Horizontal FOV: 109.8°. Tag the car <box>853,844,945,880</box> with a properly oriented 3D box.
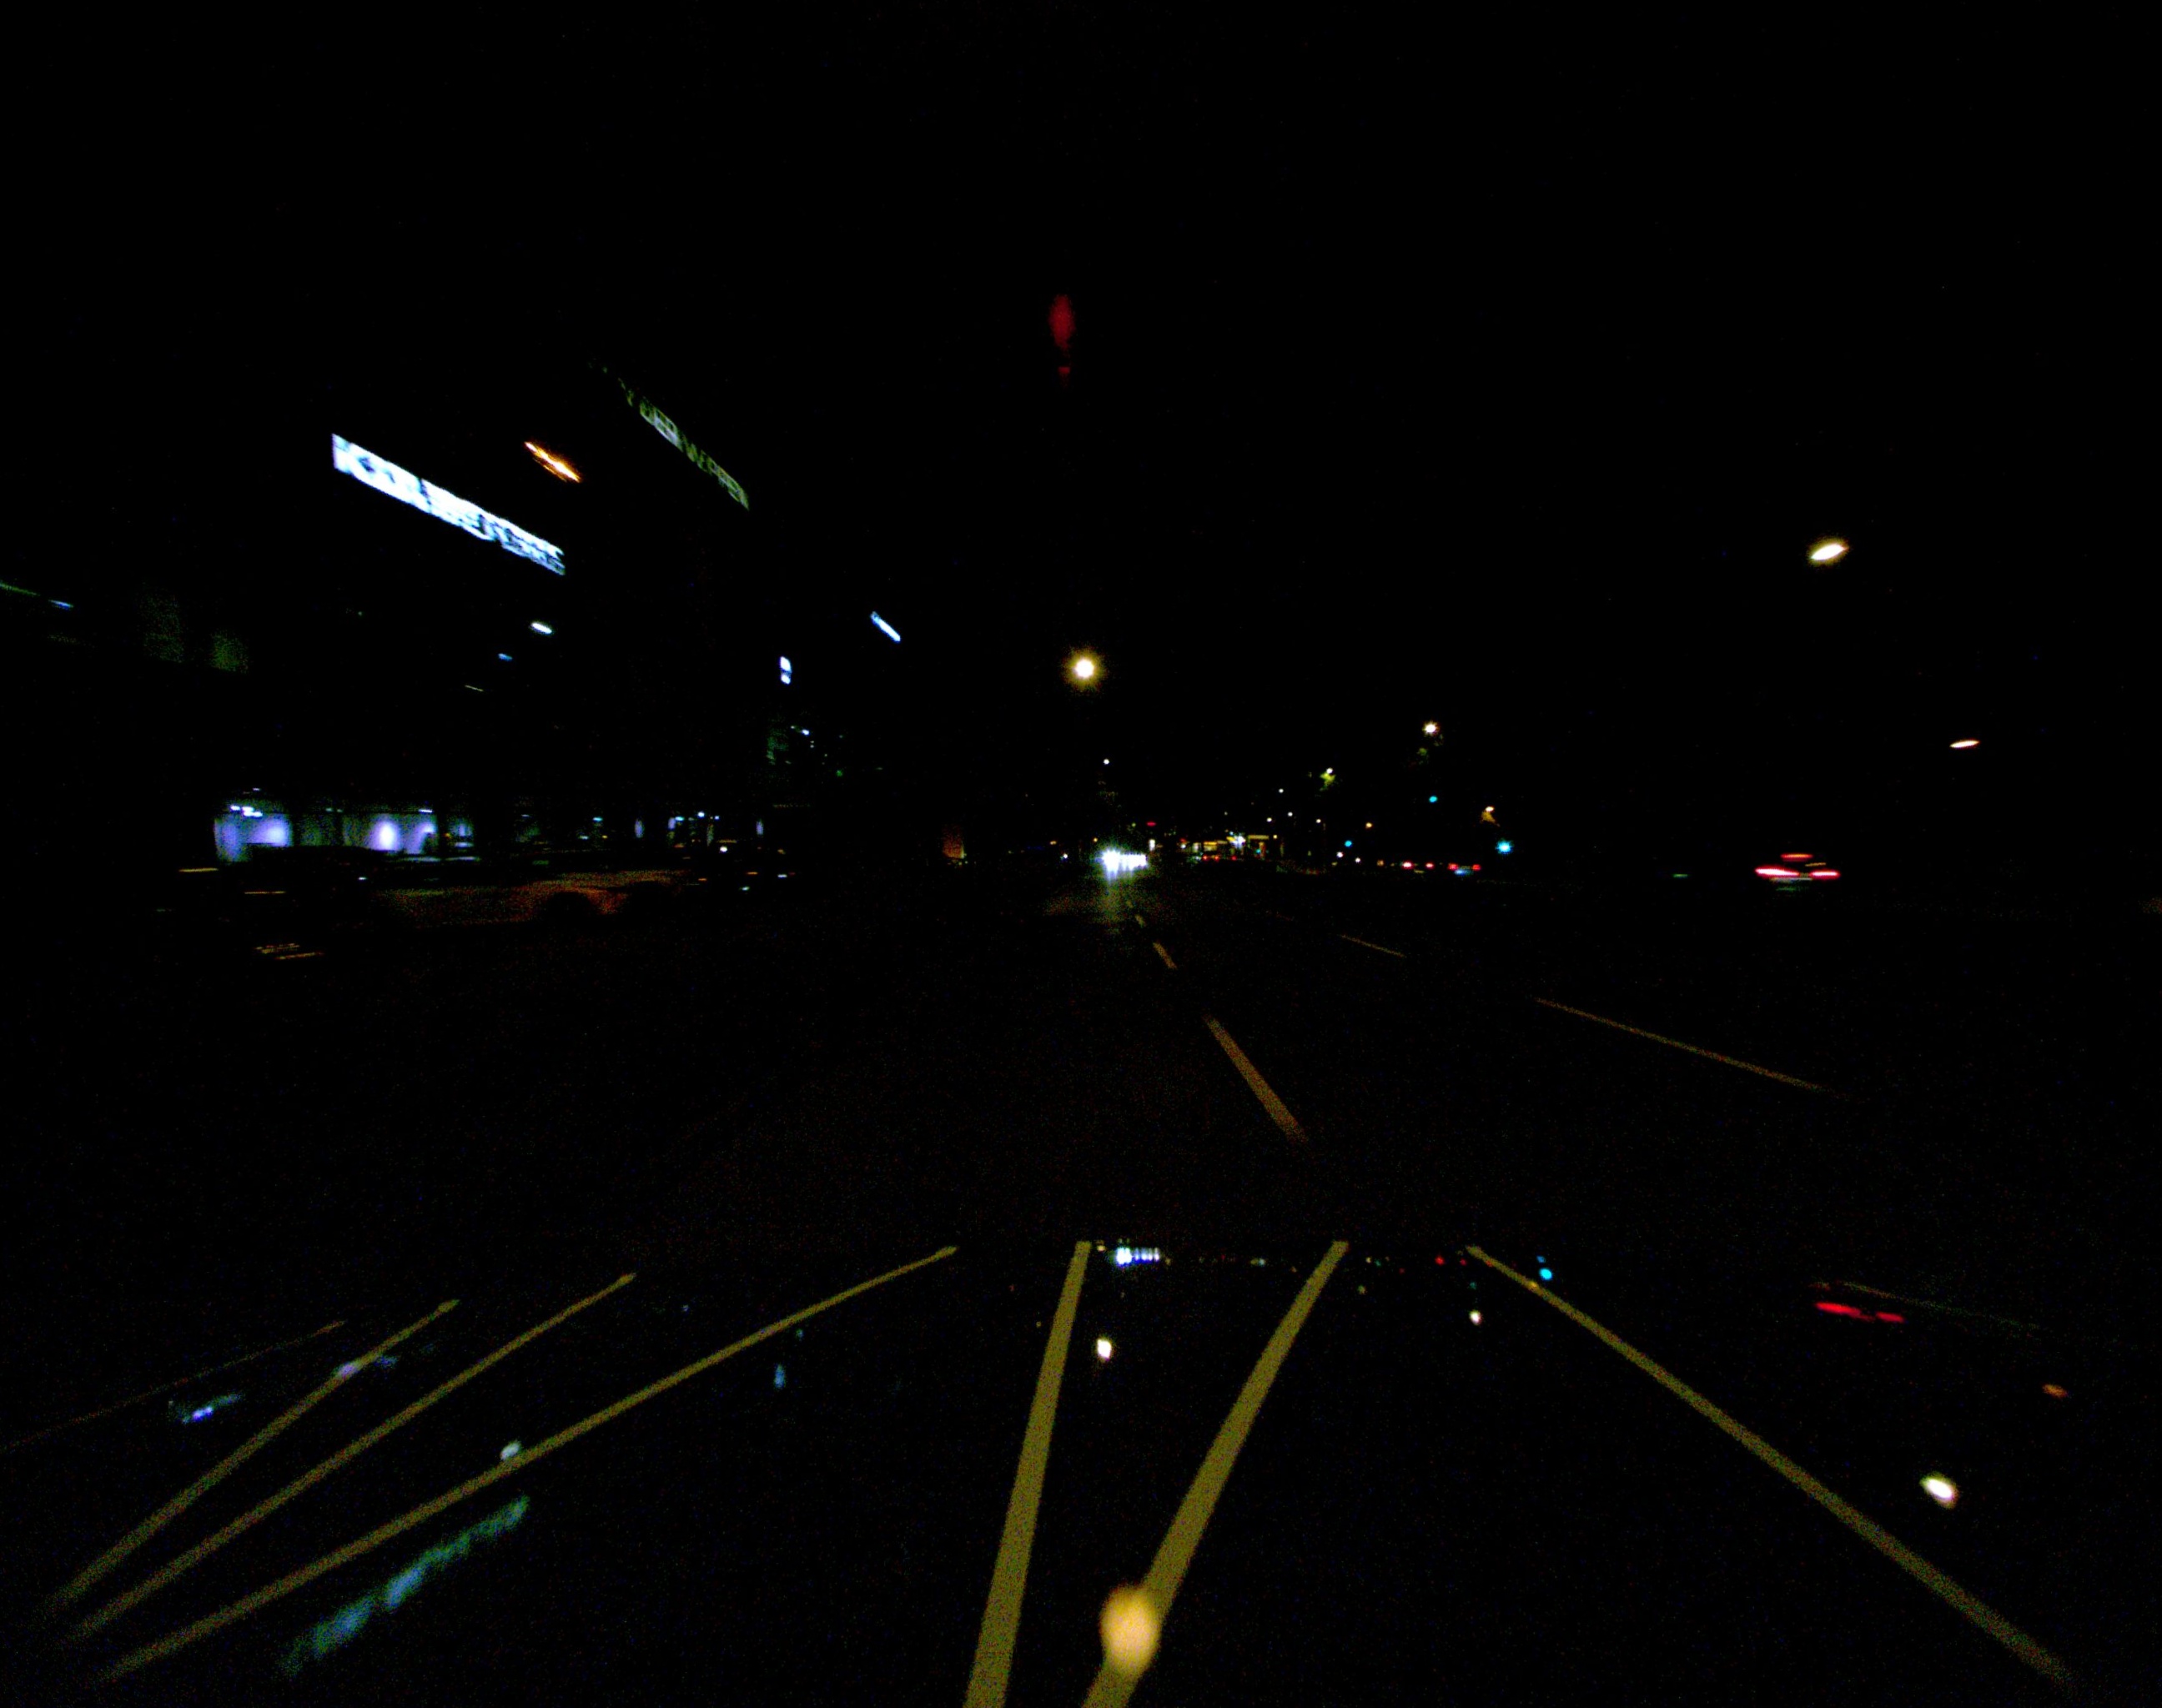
[{"bbox_3d":[-9.613,0.409,40.387,4.475,1.539,1.768,4,1,-7],"label":"car"}]

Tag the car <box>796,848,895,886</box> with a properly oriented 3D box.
[{"bbox_3d":[-9.967,0.528,32.435,3.781,1.371,1.714,3,0,-11],"label":"car"}]

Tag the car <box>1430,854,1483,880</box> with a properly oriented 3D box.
[{"bbox_3d":[23.586,0.799,47.857,1.664,1.508,3.911,-1,1,4],"label":"car"}]

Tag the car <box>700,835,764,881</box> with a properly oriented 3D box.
[{"bbox_3d":[-16.002,0.156,34.684,1.838,1.907,4.815,-2,1,-34],"label":"car"}]

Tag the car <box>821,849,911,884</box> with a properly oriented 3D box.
[{"bbox_3d":[-9.808,0.545,34.984,3.815,1.444,1.715,2,0,-11],"label":"car"}]

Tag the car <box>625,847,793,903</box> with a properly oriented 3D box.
[{"bbox_3d":[-10.382,0.582,21.535,4.003,1.461,1.830,1,0,-17],"label":"car"}]

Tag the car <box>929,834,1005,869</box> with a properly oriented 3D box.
[{"bbox_3d":[-9.637,-0.216,64.280,6.040,2.514,2.280,4,0,-14],"label":"car"}]

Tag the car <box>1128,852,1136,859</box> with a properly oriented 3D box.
[{"bbox_3d":[12.587,0.372,188.320,1.711,1.562,3.998,-1,2,-1],"label":"car"}]

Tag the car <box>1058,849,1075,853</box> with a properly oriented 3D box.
[{"bbox_3d":[-3.352,-0.657,178.003,4.008,1.028,1.480,1,0,-38],"label":"car"}]

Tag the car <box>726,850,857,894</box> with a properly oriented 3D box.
[{"bbox_3d":[-10.148,0.614,26.874,4.000,1.373,1.807,2,0,-8],"label":"car"}]

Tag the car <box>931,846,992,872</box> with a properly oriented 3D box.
[{"bbox_3d":[-8.528,0.334,54.369,4.216,1.653,1.959,2,0,-8],"label":"car"}]

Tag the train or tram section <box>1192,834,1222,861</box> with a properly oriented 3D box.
[{"bbox_3d":[18.993,-0.972,115.719,2.765,3.805,18.674,-1,0,4],"label":"train or tram section"}]

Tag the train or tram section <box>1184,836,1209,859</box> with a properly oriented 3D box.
[{"bbox_3d":[20.327,-1.128,134.702,2.744,3.824,19.367,-1,0,4],"label":"train or tram section"}]

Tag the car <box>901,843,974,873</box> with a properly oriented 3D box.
[{"bbox_3d":[-9.241,0.246,49.305,4.475,1.799,1.998,2,0,-8],"label":"car"}]

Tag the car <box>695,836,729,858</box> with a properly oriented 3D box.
[{"bbox_3d":[-30.216,-0.591,62.325,2.002,1.652,4.659,-1,2,-20],"label":"car"}]

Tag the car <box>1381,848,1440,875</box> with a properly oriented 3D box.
[{"bbox_3d":[20.475,0.447,47.383,1.789,1.489,4.173,-1,2,-1],"label":"car"}]

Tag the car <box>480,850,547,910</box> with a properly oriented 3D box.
[{"bbox_3d":[-15.330,0.644,20.478,1.324,1.478,3.064,-1,1,-38],"label":"car"}]

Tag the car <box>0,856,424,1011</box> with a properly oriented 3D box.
[{"bbox_3d":[-10.255,0.797,8.354,4.136,1.412,1.875,-2,1,-11],"label":"car"}]

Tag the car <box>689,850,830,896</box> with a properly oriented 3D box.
[{"bbox_3d":[-10.170,0.607,24.327,4.004,1.383,1.823,1,-1,-20],"label":"car"}]

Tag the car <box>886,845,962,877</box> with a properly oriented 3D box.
[{"bbox_3d":[-8.932,0.379,43.598,4.094,1.559,1.853,3,0,-8],"label":"car"}]

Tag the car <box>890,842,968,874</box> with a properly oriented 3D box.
[{"bbox_3d":[-9.256,0.247,46.541,4.475,1.677,1.998,4,0,-8],"label":"car"}]

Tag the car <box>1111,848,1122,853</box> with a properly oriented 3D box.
[{"bbox_3d":[8.473,-0.845,180.809,1.946,1.299,3.908,1,1,9],"label":"car"}]

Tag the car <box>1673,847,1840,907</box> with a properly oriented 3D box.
[{"bbox_3d":[21.653,0.665,24.633,1.783,1.704,4.227,-1,1,2],"label":"car"}]

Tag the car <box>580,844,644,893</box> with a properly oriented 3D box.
[{"bbox_3d":[-15.198,0.431,24.700,1.629,1.456,3.785,-1,0,-31],"label":"car"}]

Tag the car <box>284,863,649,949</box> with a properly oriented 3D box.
[{"bbox_3d":[-10.502,0.819,13.511,4.649,1.257,1.944,-1,0,-22],"label":"car"}]

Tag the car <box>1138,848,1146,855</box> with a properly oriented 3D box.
[{"bbox_3d":[14.653,-0.671,181.893,1.907,1.609,3.719,-1,1,4],"label":"car"}]

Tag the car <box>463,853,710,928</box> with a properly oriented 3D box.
[{"bbox_3d":[-10.316,0.719,16.226,4.002,1.415,1.907,-1,0,-15],"label":"car"}]

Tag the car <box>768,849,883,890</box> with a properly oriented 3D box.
[{"bbox_3d":[-9.888,0.580,29.740,4.038,1.365,1.823,3,0,-13],"label":"car"}]

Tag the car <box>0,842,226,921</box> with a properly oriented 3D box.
[{"bbox_3d":[-22.960,0.600,17.290,4.328,1.645,1.653,-2,1,-34],"label":"car"}]

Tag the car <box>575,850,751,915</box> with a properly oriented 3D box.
[{"bbox_3d":[-10.256,0.645,18.941,3.617,1.425,1.677,-1,1,-21],"label":"car"}]

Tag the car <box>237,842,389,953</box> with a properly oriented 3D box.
[{"bbox_3d":[-15.117,0.725,15.158,1.591,1.786,3.858,-2,4,-38],"label":"car"}]
